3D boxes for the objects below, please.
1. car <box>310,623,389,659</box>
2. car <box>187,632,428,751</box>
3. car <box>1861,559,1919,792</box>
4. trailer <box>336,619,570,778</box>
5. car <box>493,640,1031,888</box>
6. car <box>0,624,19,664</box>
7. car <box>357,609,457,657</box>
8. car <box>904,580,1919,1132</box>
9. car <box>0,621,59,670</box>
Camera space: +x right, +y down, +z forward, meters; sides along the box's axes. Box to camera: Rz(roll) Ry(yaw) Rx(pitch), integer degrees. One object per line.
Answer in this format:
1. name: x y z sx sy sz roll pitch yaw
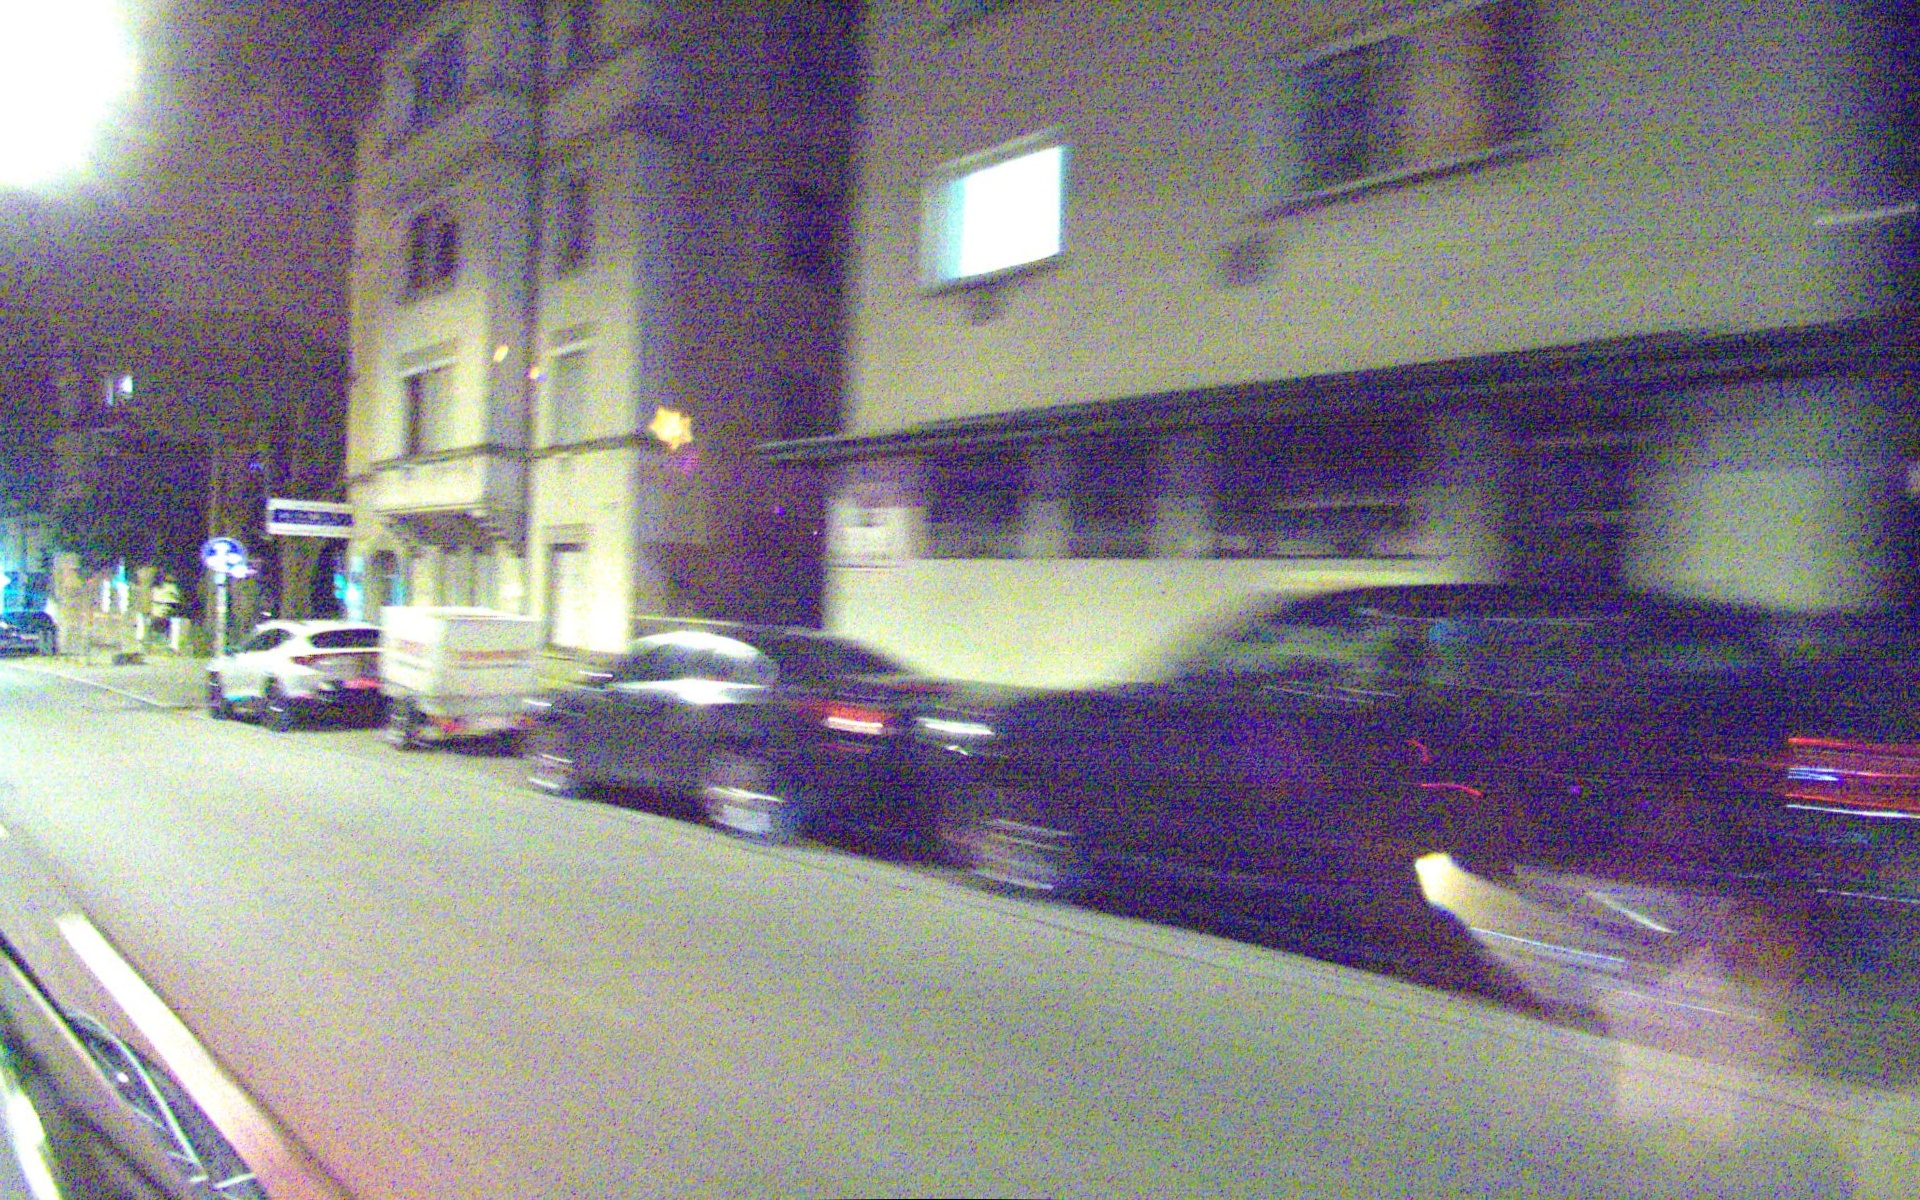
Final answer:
1. car: -23.821 1.565 39.470 3.559 1.327 1.541 -1 -1 39
2. car: -9.854 1.251 15.162 4.343 1.495 1.796 -1 -2 39
3. car: 9.829 0.638 9.390 1.958 1.930 3.948 -1 -1 39
4. trailer: -6.354 1.078 12.538 1.619 1.652 3.441 1 -1 -45
5. car: -1.795 1.057 8.178 4.540 1.458 1.816 -2 -3 40
6. car: -38.913 1.732 40.220 3.696 1.526 1.632 -1 -1 37
7. car: -19.841 1.144 36.251 4.184 1.549 1.739 -1 1 40
8. car: 1.980 0.805 4.965 4.542 1.631 1.816 -2 -2 41
9. car: -34.068 1.615 36.262 4.664 1.663 1.831 -2 -2 37
